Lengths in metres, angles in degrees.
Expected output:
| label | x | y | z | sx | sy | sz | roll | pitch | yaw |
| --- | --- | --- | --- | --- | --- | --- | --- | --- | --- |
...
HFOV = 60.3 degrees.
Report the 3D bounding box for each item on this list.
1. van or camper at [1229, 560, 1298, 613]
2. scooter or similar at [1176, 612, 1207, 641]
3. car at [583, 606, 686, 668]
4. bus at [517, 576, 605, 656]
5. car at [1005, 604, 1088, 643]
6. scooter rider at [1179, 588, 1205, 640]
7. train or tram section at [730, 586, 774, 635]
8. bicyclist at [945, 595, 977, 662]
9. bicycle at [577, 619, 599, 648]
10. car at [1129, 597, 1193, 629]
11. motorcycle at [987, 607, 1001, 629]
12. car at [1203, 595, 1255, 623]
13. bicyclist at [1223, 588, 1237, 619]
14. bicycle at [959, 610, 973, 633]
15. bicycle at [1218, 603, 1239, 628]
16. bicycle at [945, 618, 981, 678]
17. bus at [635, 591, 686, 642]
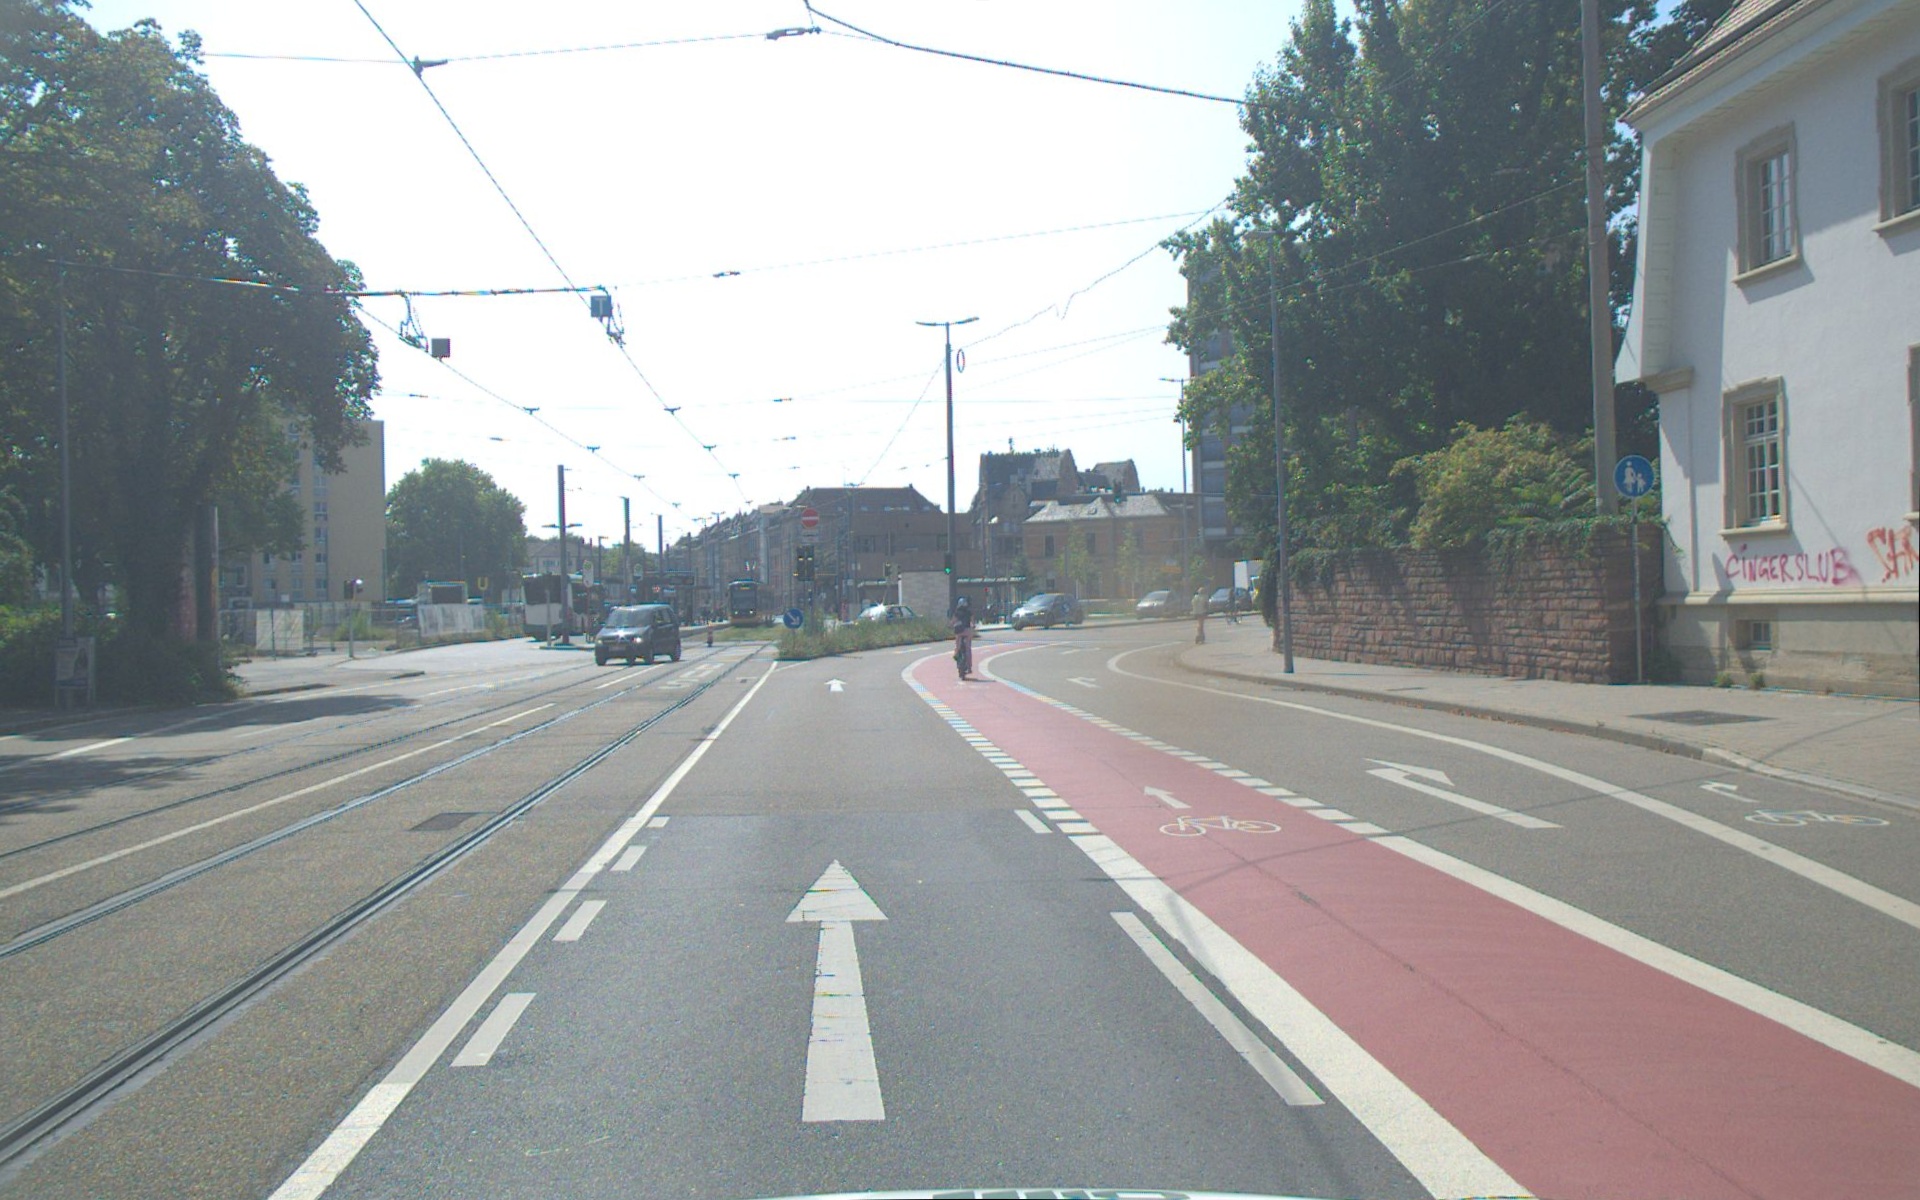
| label | x | y | z | sx | sy | sz | roll | pitch | yaw |
| --- | --- | --- | --- | --- | --- | --- | --- | --- | --- |
| van or camper | 20.539 | -0.908 | 111.554 | 2.354 | 3.364 | 7.179 | -2 | 0 | 29 |
| scooter or similar | 8.105 | 0.920 | 57.927 | 0.756 | 0.943 | 1.621 | -1 | 0 | 19 |
| car | -9.326 | 1.040 | 47.580 | 1.655 | 1.684 | 3.584 | -1 | -1 | 11 |
| bus | -20.755 | 0.837 | 86.645 | 2.900 | 3.841 | 10.583 | -1 | -1 | -5 |
| car | 4.116 | 1.091 | 78.198 | 1.741 | 1.639 | 4.659 | -2 | 0 | 34 |
| scooter rider | 8.146 | 0.488 | 58.072 | 0.746 | 1.806 | 0.555 | -2 | -1 | 20 |
| train or tram section | -16.464 | 0.883 | 131.739 | 2.801 | 3.610 | 17.722 | -1 | -1 | -5 |
| bicyclist | 0.023 | 0.584 | 34.398 | 0.591 | 1.358 | 0.659 | -2 | 0 | -3 |
| bicycle | -16.569 | 1.468 | 73.740 | 0.595 | 1.244 | 1.705 | -2 | 0 | -1 |
| car | 10.851 | 0.676 | 89.206 | 1.621 | 1.557 | 4.313 | -2 | 0 | 33 |
| motorcycle | 2.036 | 1.076 | 99.252 | 0.591 | 1.232 | 2.255 | -2 | 0 | 6 |
| car | 16.105 | 0.527 | 98.741 | 1.665 | 1.557 | 4.175 | -2 | 0 | 30 |
| bicyclist | 12.801 | 0.148 | 78.333 | 0.441 | 1.446 | 0.494 | -3 | -1 | 32 |
| bicycle | 0.355 | 1.202 | 93.455 | 0.591 | 1.232 | 1.812 | -2 | 0 | 6 |
| bicycle | 12.704 | 0.742 | 78.128 | 0.436 | 1.136 | 1.443 | -3 | -1 | 31 |
| bicycle | 0.052 | 0.990 | 34.407 | 0.592 | 1.183 | 1.809 | -2 | 0 | -3 |
| bus | -23.820 | 1.311 | 132.027 | 2.656 | 3.792 | 10.411 | -1 | -1 | -3 |
